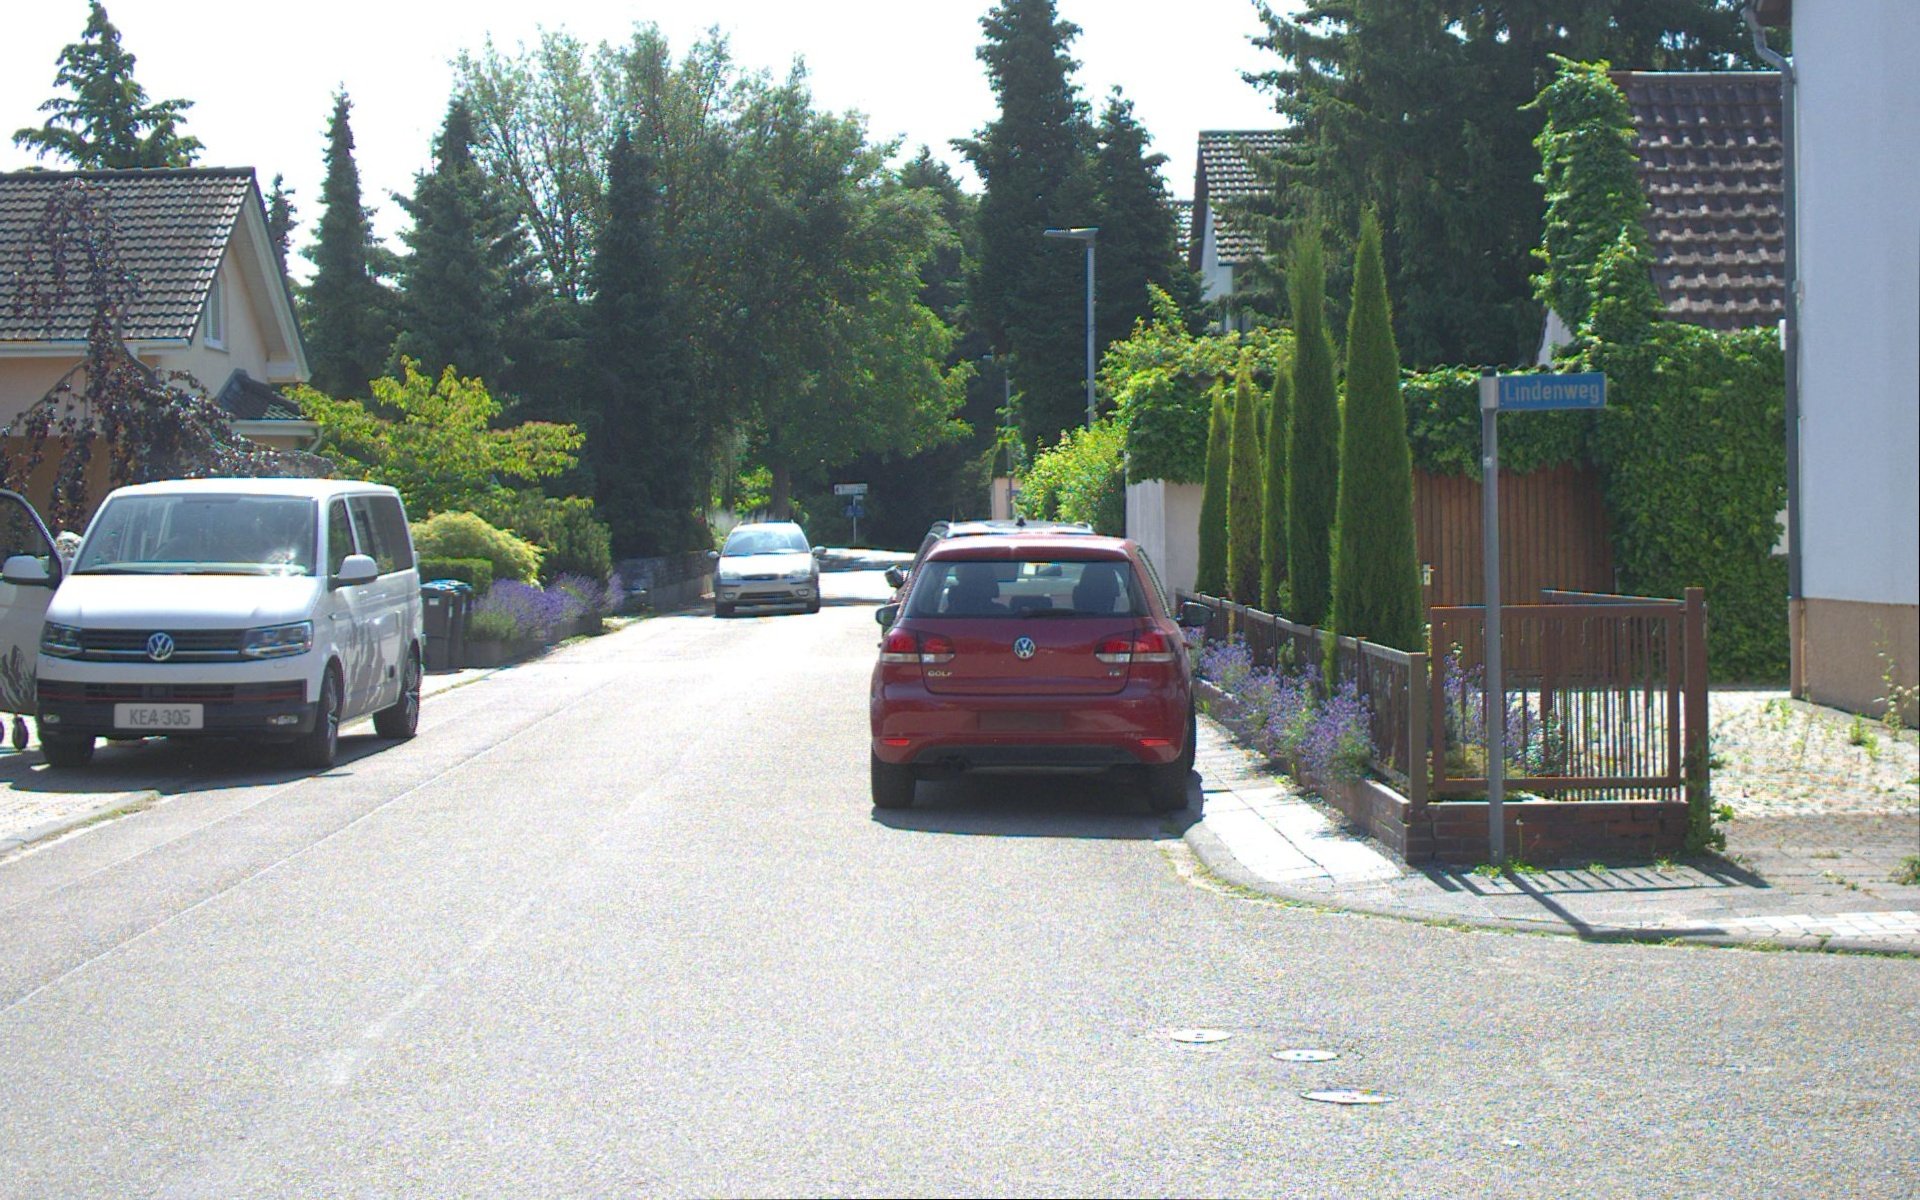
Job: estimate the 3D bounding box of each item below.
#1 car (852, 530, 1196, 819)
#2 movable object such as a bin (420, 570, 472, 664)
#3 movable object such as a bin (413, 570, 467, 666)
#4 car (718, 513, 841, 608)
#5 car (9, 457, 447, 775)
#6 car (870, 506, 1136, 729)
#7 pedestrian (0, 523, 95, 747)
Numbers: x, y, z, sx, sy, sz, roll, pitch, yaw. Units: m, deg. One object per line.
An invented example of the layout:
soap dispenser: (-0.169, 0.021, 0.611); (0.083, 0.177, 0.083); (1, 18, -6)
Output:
car: (0.436, 0.346, 19.965); (1.775, 1.474, 4.000); (1, 1, 3)
movable object such as a bin: (-5.669, 0.184, 37.928); (0.494, 1.021, 0.447); (-1, 1, 0)
movable object such as a bin: (-5.659, 0.191, 37.439); (0.494, 1.021, 0.447); (-1, 1, 0)
car: (-2.976, -0.680, 57.350); (1.752, 1.482, 4.376); (-1, 1, 1)
car: (-5.021, 0.052, 24.313); (1.929, 2.007, 4.896); (-1, 1, 1)
car: (0.257, 0.085, 26.775); (1.822, 1.610, 4.001); (0, 1, -3)
pedestrian: (-6.581, 0.233, 24.162); (0.718, 1.533, 0.641); (1, 2, 33)
